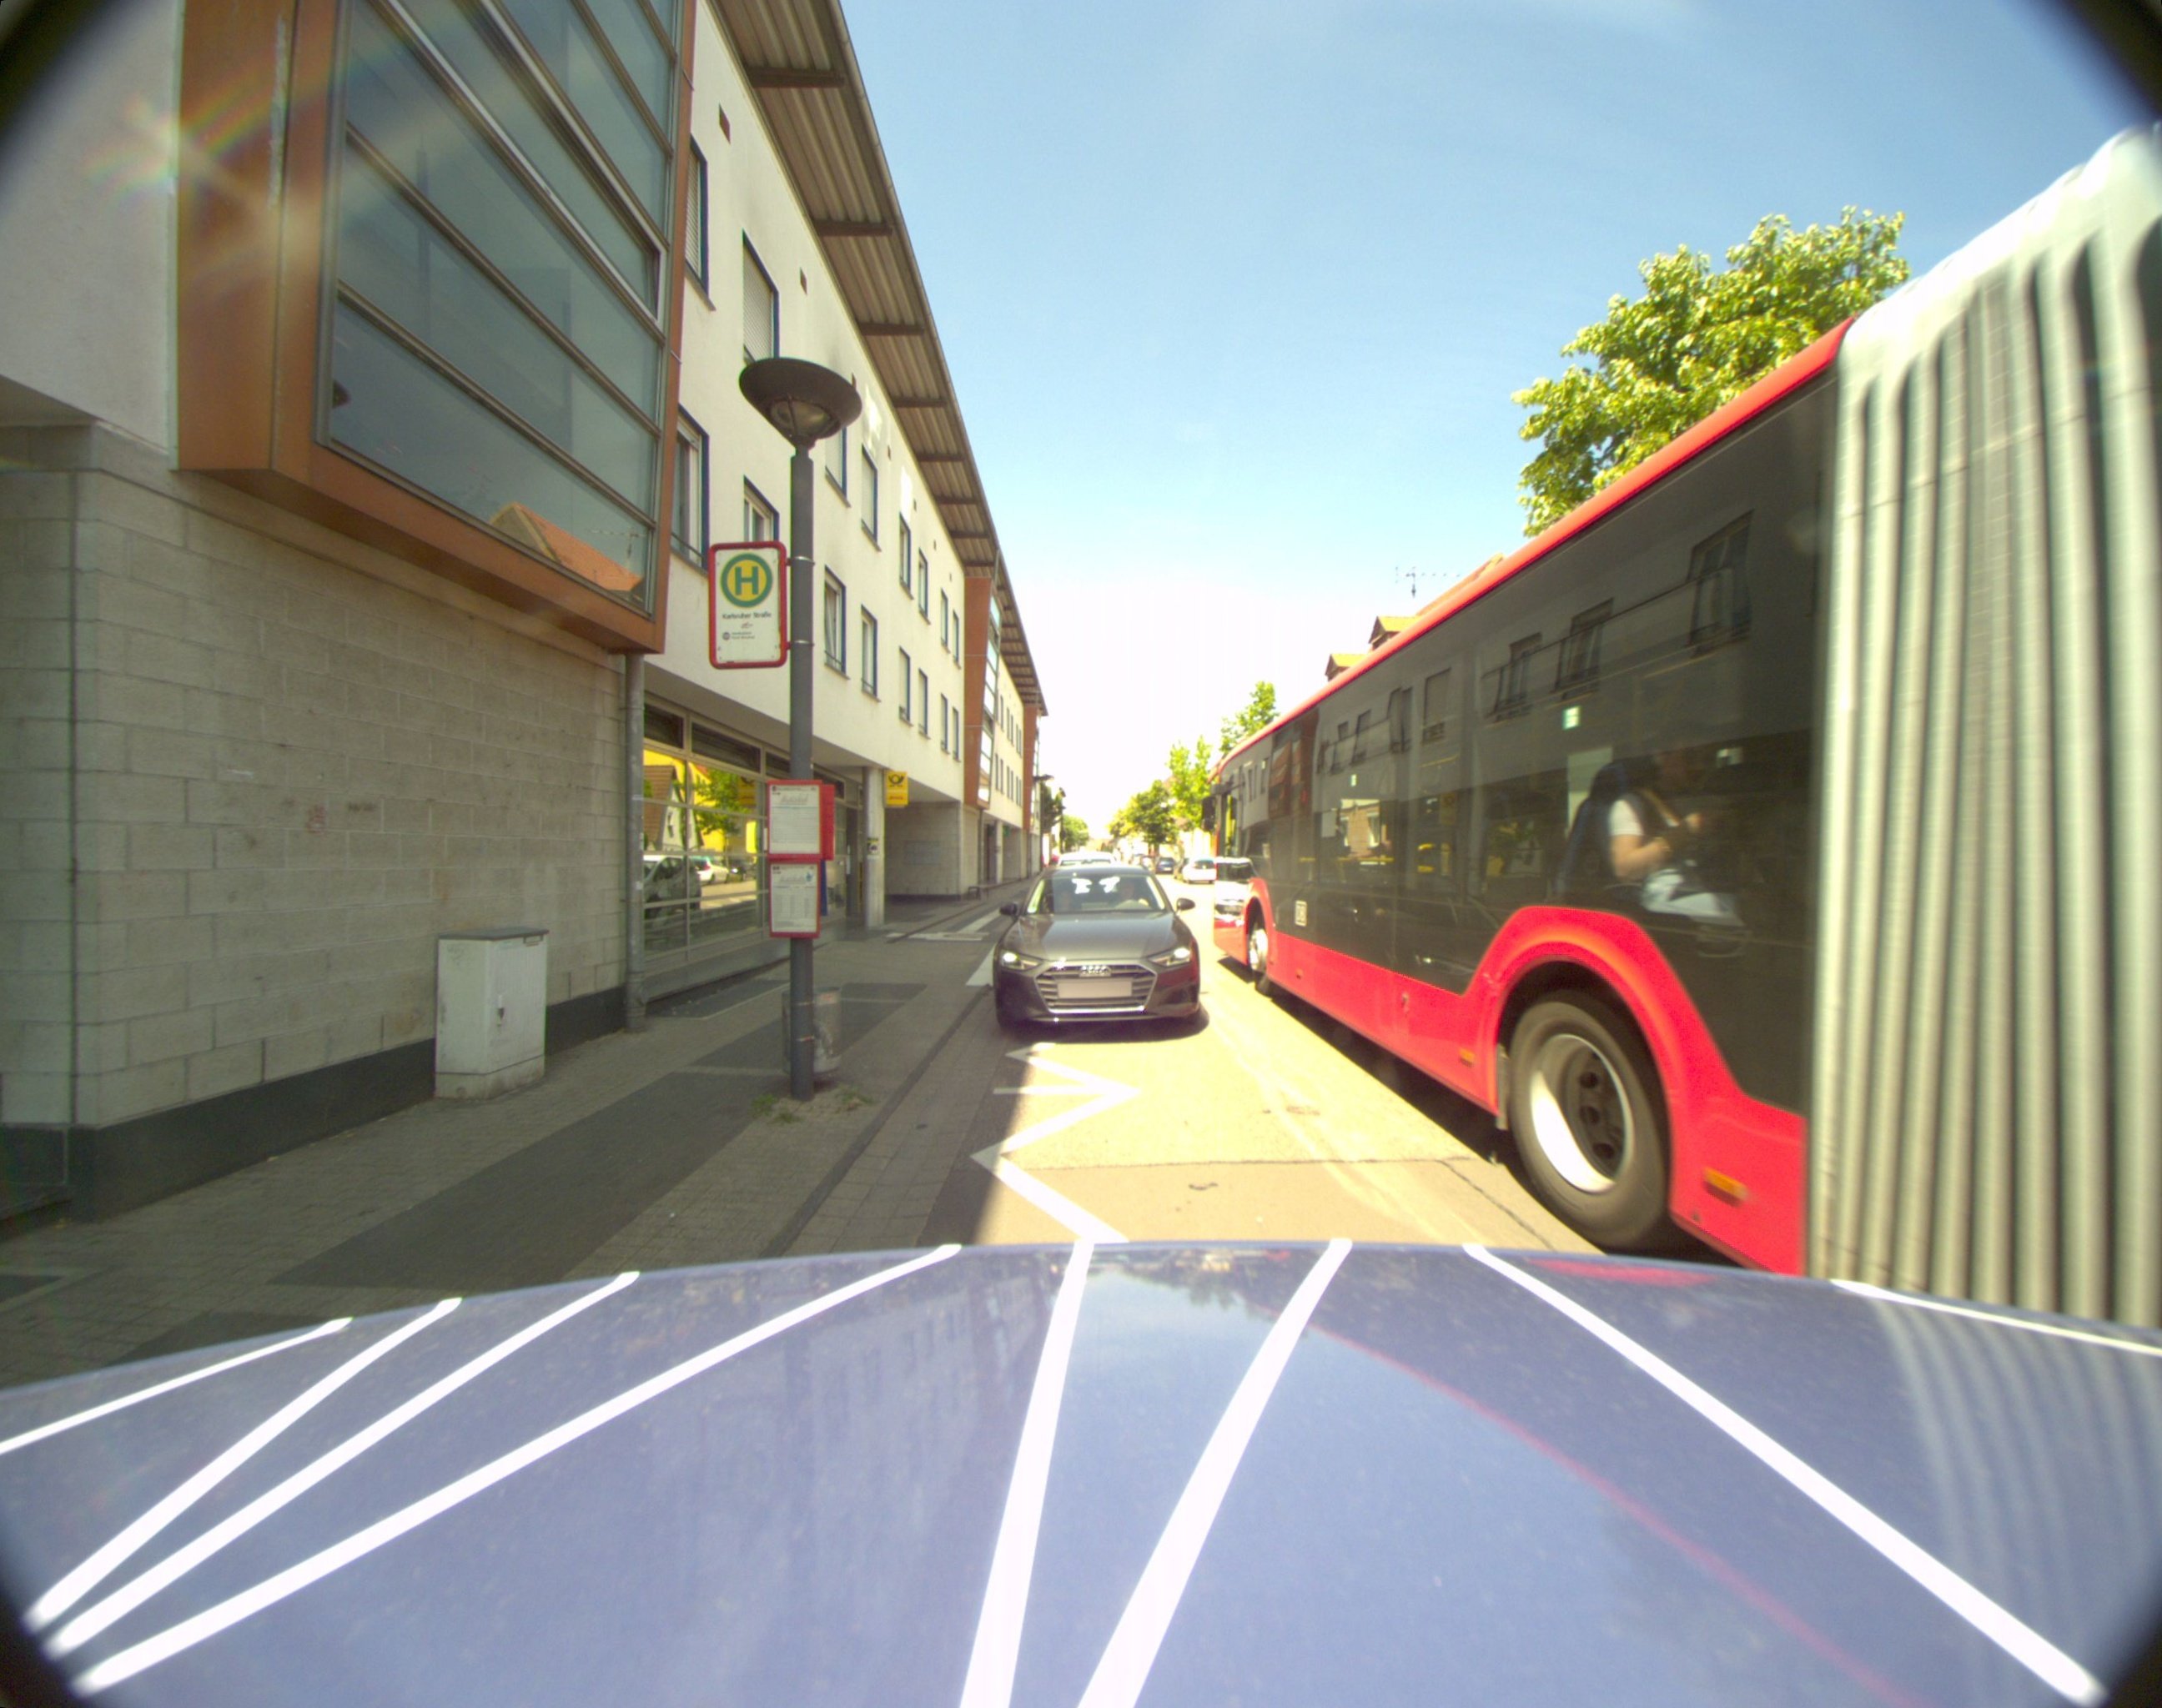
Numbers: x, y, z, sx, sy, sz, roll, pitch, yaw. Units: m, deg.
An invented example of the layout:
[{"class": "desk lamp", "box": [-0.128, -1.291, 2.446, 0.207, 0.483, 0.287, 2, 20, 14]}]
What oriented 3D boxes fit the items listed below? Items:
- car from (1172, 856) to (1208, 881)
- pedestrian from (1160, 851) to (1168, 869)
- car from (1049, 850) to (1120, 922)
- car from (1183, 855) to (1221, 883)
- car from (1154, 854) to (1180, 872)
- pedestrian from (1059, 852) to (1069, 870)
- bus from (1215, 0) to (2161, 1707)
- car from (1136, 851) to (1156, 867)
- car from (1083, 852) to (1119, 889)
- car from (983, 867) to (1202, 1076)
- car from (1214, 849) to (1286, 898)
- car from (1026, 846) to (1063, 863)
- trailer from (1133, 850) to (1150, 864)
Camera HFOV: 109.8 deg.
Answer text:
[{"class": "car", "box": [6.704, 0.839, 46.974, 1.649, 1.422, 4.098, 1, 0, 1]}, {"class": "pedestrian", "box": [7.408, 0.509, 67.960, 0.631, 1.592, 0.528, 0, 1, 1]}, {"class": "car", "box": [0.099, 0.722, 19.315, 1.581, 1.620, 4.065, 0, 0, 1]}, {"class": "car", "box": [6.448, 0.785, 40.809, 1.557, 1.422, 3.410, 1, 0, 1]}, {"class": "car", "box": [6.738, 0.694, 59.741, 1.660, 1.399, 4.158, 0, 0, 1]}, {"class": "pedestrian", "box": [-1.509, 0.645, 67.593, 0.825, 1.579, 0.919, 3, 1, 1]}, {"class": "bus", "box": [3.156, 0.047, 1.591, 2.675, 3.105, 17.805, 0, 0, 0]}, {"class": "car", "box": [6.750, 0.503, 79.248, 1.753, 1.566, 4.158, 0, 0, 1]}, {"class": "car", "box": [0.896, 0.725, 35.279, 1.581, 1.620, 4.065, 0, 0, 1]}, {"class": "car", "box": [0.105, 0.907, 7.660, 1.581, 1.424, 4.065, -2, 0, 1]}, {"class": "car", "box": [6.384, 0.688, 29.193, 1.780, 1.716, 4.519, 0, 0, 0]}, {"class": "car", "box": [-4.197, 0.070, 88.647, 4.203, 1.849, 2.000, 1, 0, 0]}, {"class": "trailer", "box": [7.293, 0.385, 91.877, 1.493, 1.571, 3.883, -3, 0, -1]}]
